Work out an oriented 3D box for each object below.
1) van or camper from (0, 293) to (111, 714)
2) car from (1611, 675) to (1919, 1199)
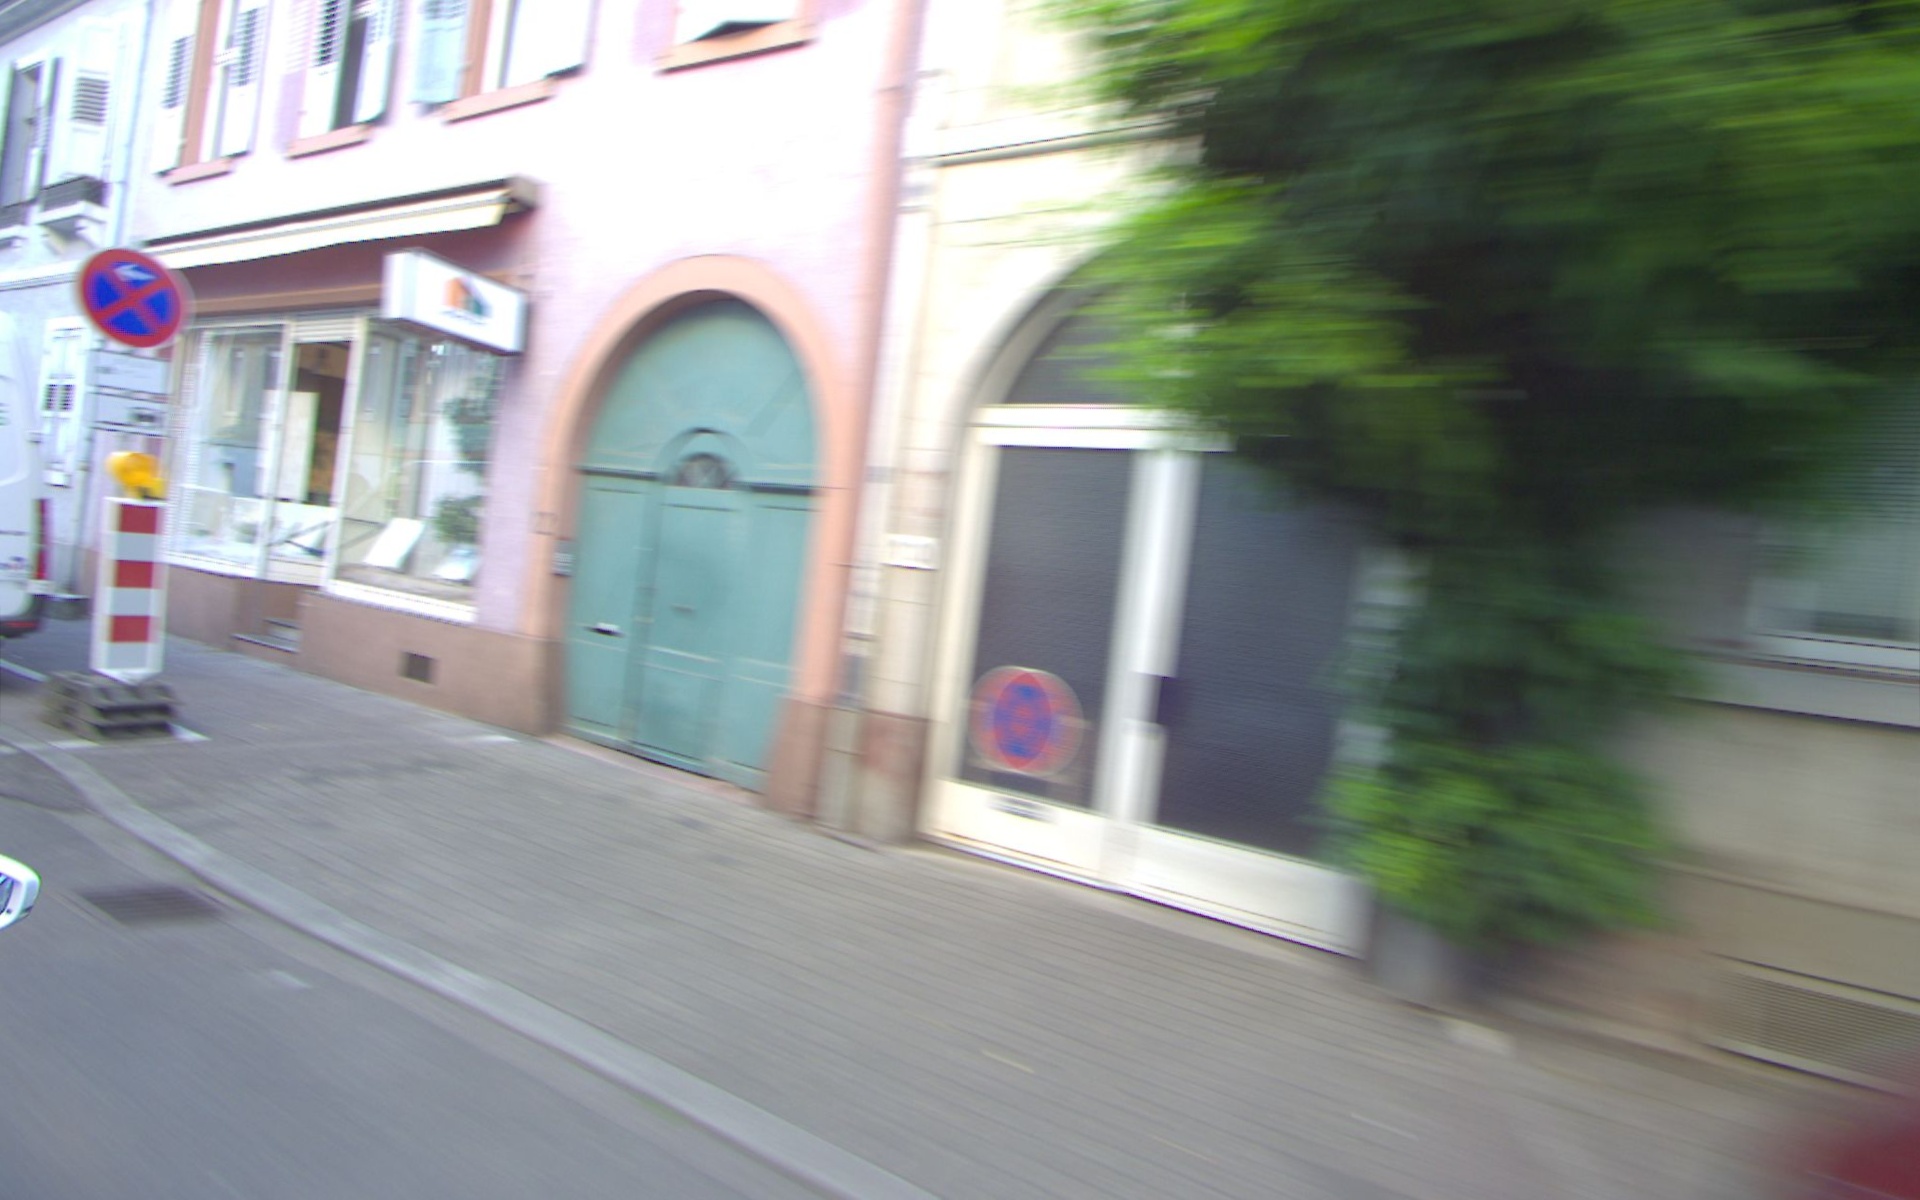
[{"bbox_3d":[-9.358,-1.005,7.769,6.945,2.669,2.053,7,0,32],"label":"van or camper"},{"bbox_3d":[2.806,1.086,0.741,3.689,1.523,1.658,7,-1,29],"label":"car"}]
